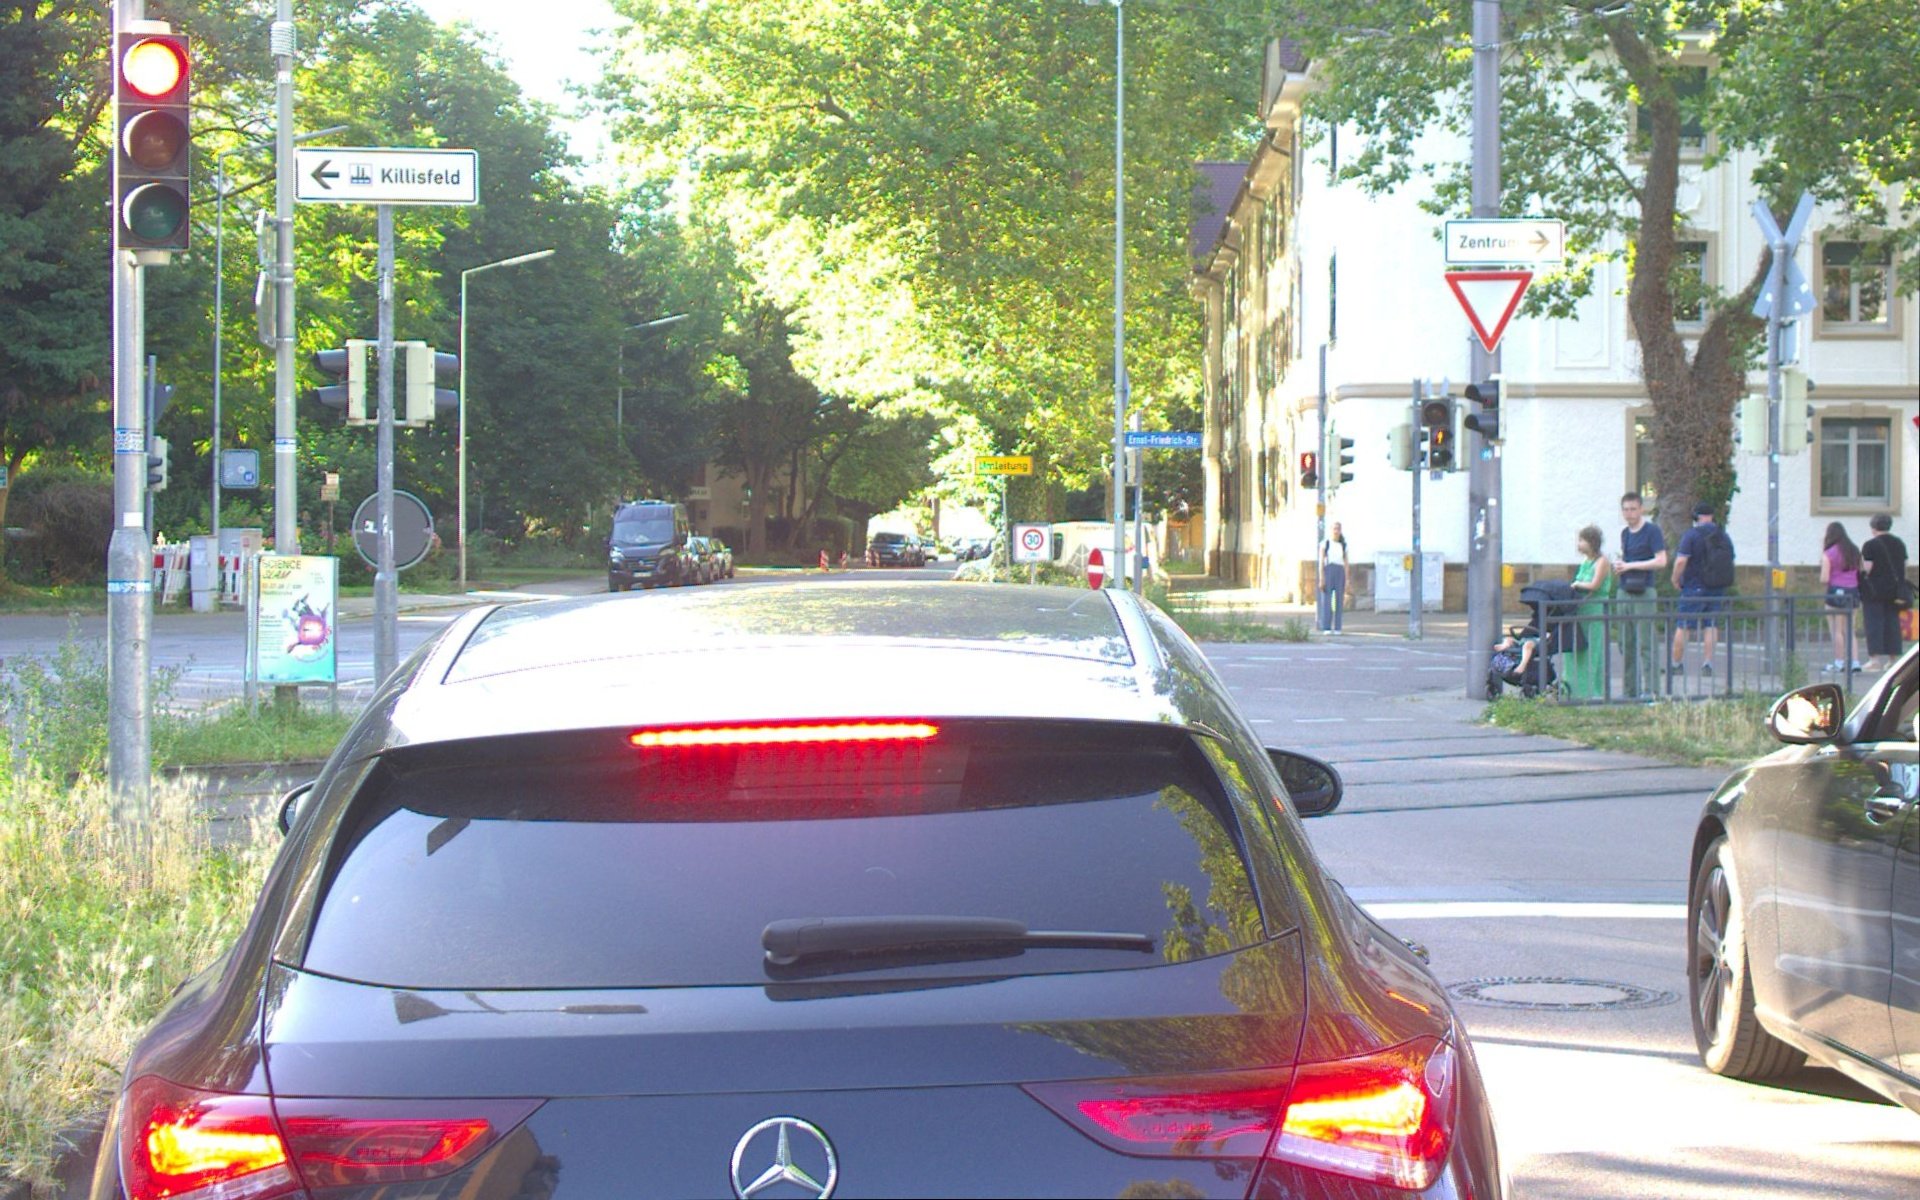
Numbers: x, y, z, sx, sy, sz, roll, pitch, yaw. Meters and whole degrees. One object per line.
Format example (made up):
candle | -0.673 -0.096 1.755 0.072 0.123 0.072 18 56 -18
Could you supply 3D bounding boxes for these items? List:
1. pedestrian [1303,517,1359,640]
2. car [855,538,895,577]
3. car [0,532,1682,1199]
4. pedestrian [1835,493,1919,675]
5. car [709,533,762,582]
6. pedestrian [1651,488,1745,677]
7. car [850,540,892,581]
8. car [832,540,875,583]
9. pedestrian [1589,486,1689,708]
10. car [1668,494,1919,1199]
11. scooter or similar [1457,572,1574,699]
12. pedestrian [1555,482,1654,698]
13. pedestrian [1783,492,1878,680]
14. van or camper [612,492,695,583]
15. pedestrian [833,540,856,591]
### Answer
pedestrian | 5.832 -0.344 54.056 0.705 1.911 0.839 1 0 -4
car | -3.912 -1.960 158.460 1.733 1.759 4.019 1 1 -1
car | -0.225 0.696 5.392 1.889 1.445 4.001 1 3 1
pedestrian | 9.832 -0.176 36.666 0.705 1.911 0.839 1 0 -4
car | -8.235 -1.558 126.398 1.733 1.759 3.971 1 1 -1
pedestrian | 7.586 -0.180 35.368 0.705 1.911 0.839 1 0 -4
car | -3.889 -1.738 150.378 1.733 1.759 4.019 1 1 -1
car | -4.491 -1.637 145.490 1.733 1.759 4.019 1 1 -1
pedestrian | 5.942 -0.031 30.115 0.682 1.911 0.707 1 0 -2
car | 2.858 0.580 7.282 1.889 1.485 4.382 1 3 2
scooter or similar | 4.921 0.309 30.471 0.828 1.101 0.809 1 0 -6
pedestrian | 5.784 -0.093 30.887 0.682 1.911 0.707 1 0 -4
pedestrian | 9.022 -0.147 35.666 0.705 1.911 0.839 1 0 -4
van or camper | -8.861 -1.795 99.733 1.993 2.532 4.651 1 1 0
pedestrian | -4.375 -1.316 130.022 0.705 1.911 0.839 1 0 -10
